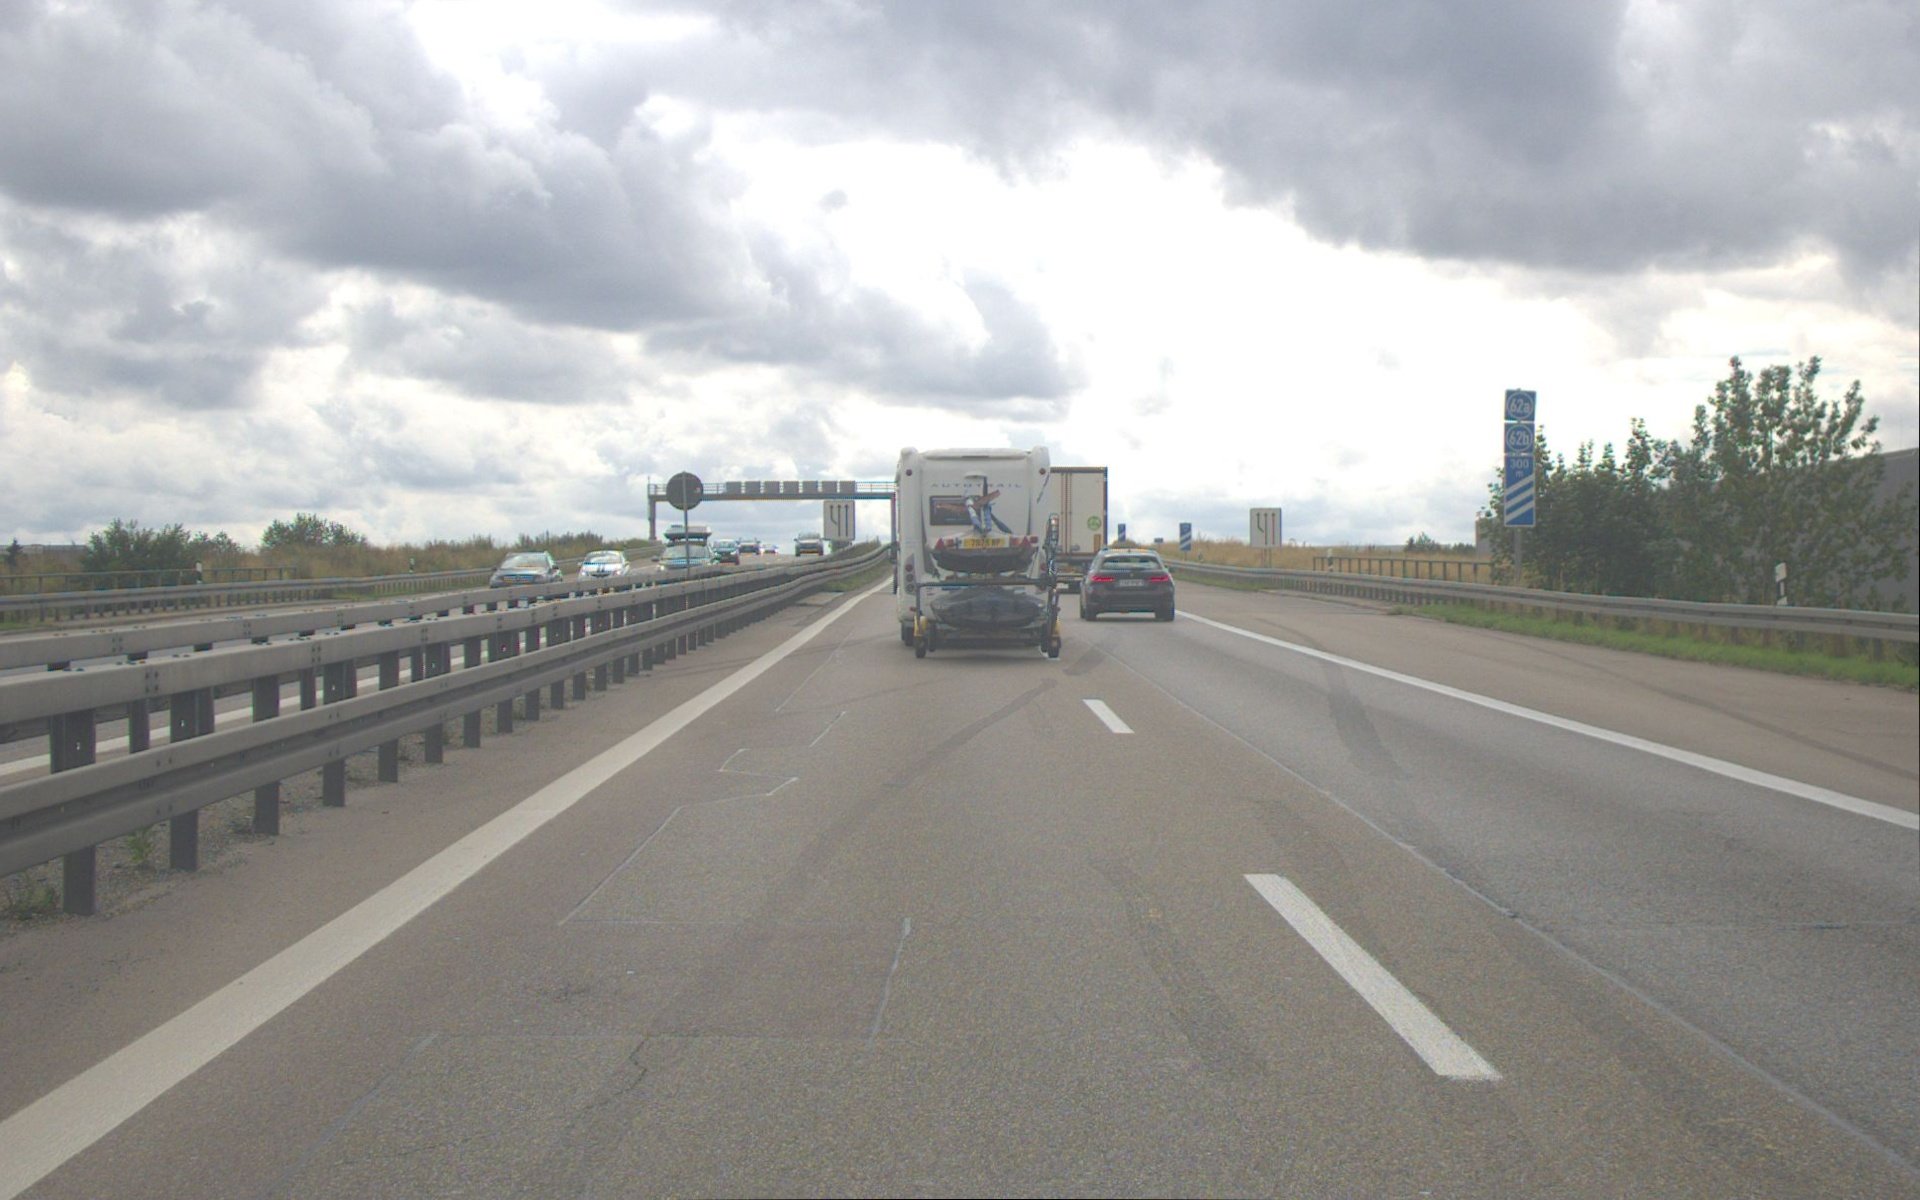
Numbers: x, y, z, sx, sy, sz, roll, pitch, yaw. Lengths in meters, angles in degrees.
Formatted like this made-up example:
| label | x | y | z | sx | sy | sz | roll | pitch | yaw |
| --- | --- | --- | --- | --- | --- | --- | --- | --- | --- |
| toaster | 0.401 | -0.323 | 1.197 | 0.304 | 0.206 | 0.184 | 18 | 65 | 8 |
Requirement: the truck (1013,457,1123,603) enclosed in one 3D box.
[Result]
| label | x | y | z | sx | sy | sz | roll | pitch | yaw |
| --- | --- | --- | --- | --- | --- | --- | --- | --- | --- |
| truck | 3.432 | -2.185 | 111.031 | 3.246 | 4.510 | 7.066 | -1 | 0 | 0 |

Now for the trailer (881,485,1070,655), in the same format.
| label | x | y | z | sx | sy | sz | roll | pitch | yaw |
| --- | --- | --- | --- | --- | --- | --- | --- | --- | --- |
| trailer | 0.257 | -0.379 | 45.449 | 2.338 | 2.129 | 4.000 | -1 | 0 | 2 |

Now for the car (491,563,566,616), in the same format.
| label | x | y | z | sx | sy | sz | roll | pitch | yaw |
| --- | --- | --- | --- | --- | --- | --- | --- | --- | --- |
| car | -12.768 | -0.323 | 101.881 | 1.756 | 1.463 | 4.560 | 0 | 1 | -1 |

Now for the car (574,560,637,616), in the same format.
| label | x | y | z | sx | sy | sz | roll | pitch | yaw |
| --- | --- | --- | --- | --- | --- | --- | --- | --- | --- |
| car | -13.033 | -0.427 | 126.580 | 1.993 | 2.007 | 4.384 | -1 | 0 | -2 |

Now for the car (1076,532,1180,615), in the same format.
| label | x | y | z | sx | sy | sz | roll | pitch | yaw |
| --- | --- | --- | --- | --- | --- | --- | --- | --- | --- |
| car | 3.398 | -0.524 | 70.145 | 1.882 | 1.615 | 4.000 | -1 | 0 | -1 |

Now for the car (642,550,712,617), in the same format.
| label | x | y | z | sx | sy | sz | roll | pitch | yaw |
| --- | --- | --- | --- | --- | --- | --- | --- | --- | --- |
| car | -8.833 | -0.545 | 107.601 | 1.993 | 2.007 | 4.384 | 0 | 1 | -2 |

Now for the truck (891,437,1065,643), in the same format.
| label | x | y | z | sx | sy | sz | roll | pitch | yaw |
| --- | --- | --- | --- | --- | --- | --- | --- | --- | --- |
| truck | 0.277 | -0.861 | 52.514 | 2.482 | 2.940 | 5.814 | -1 | 0 | 0 |
